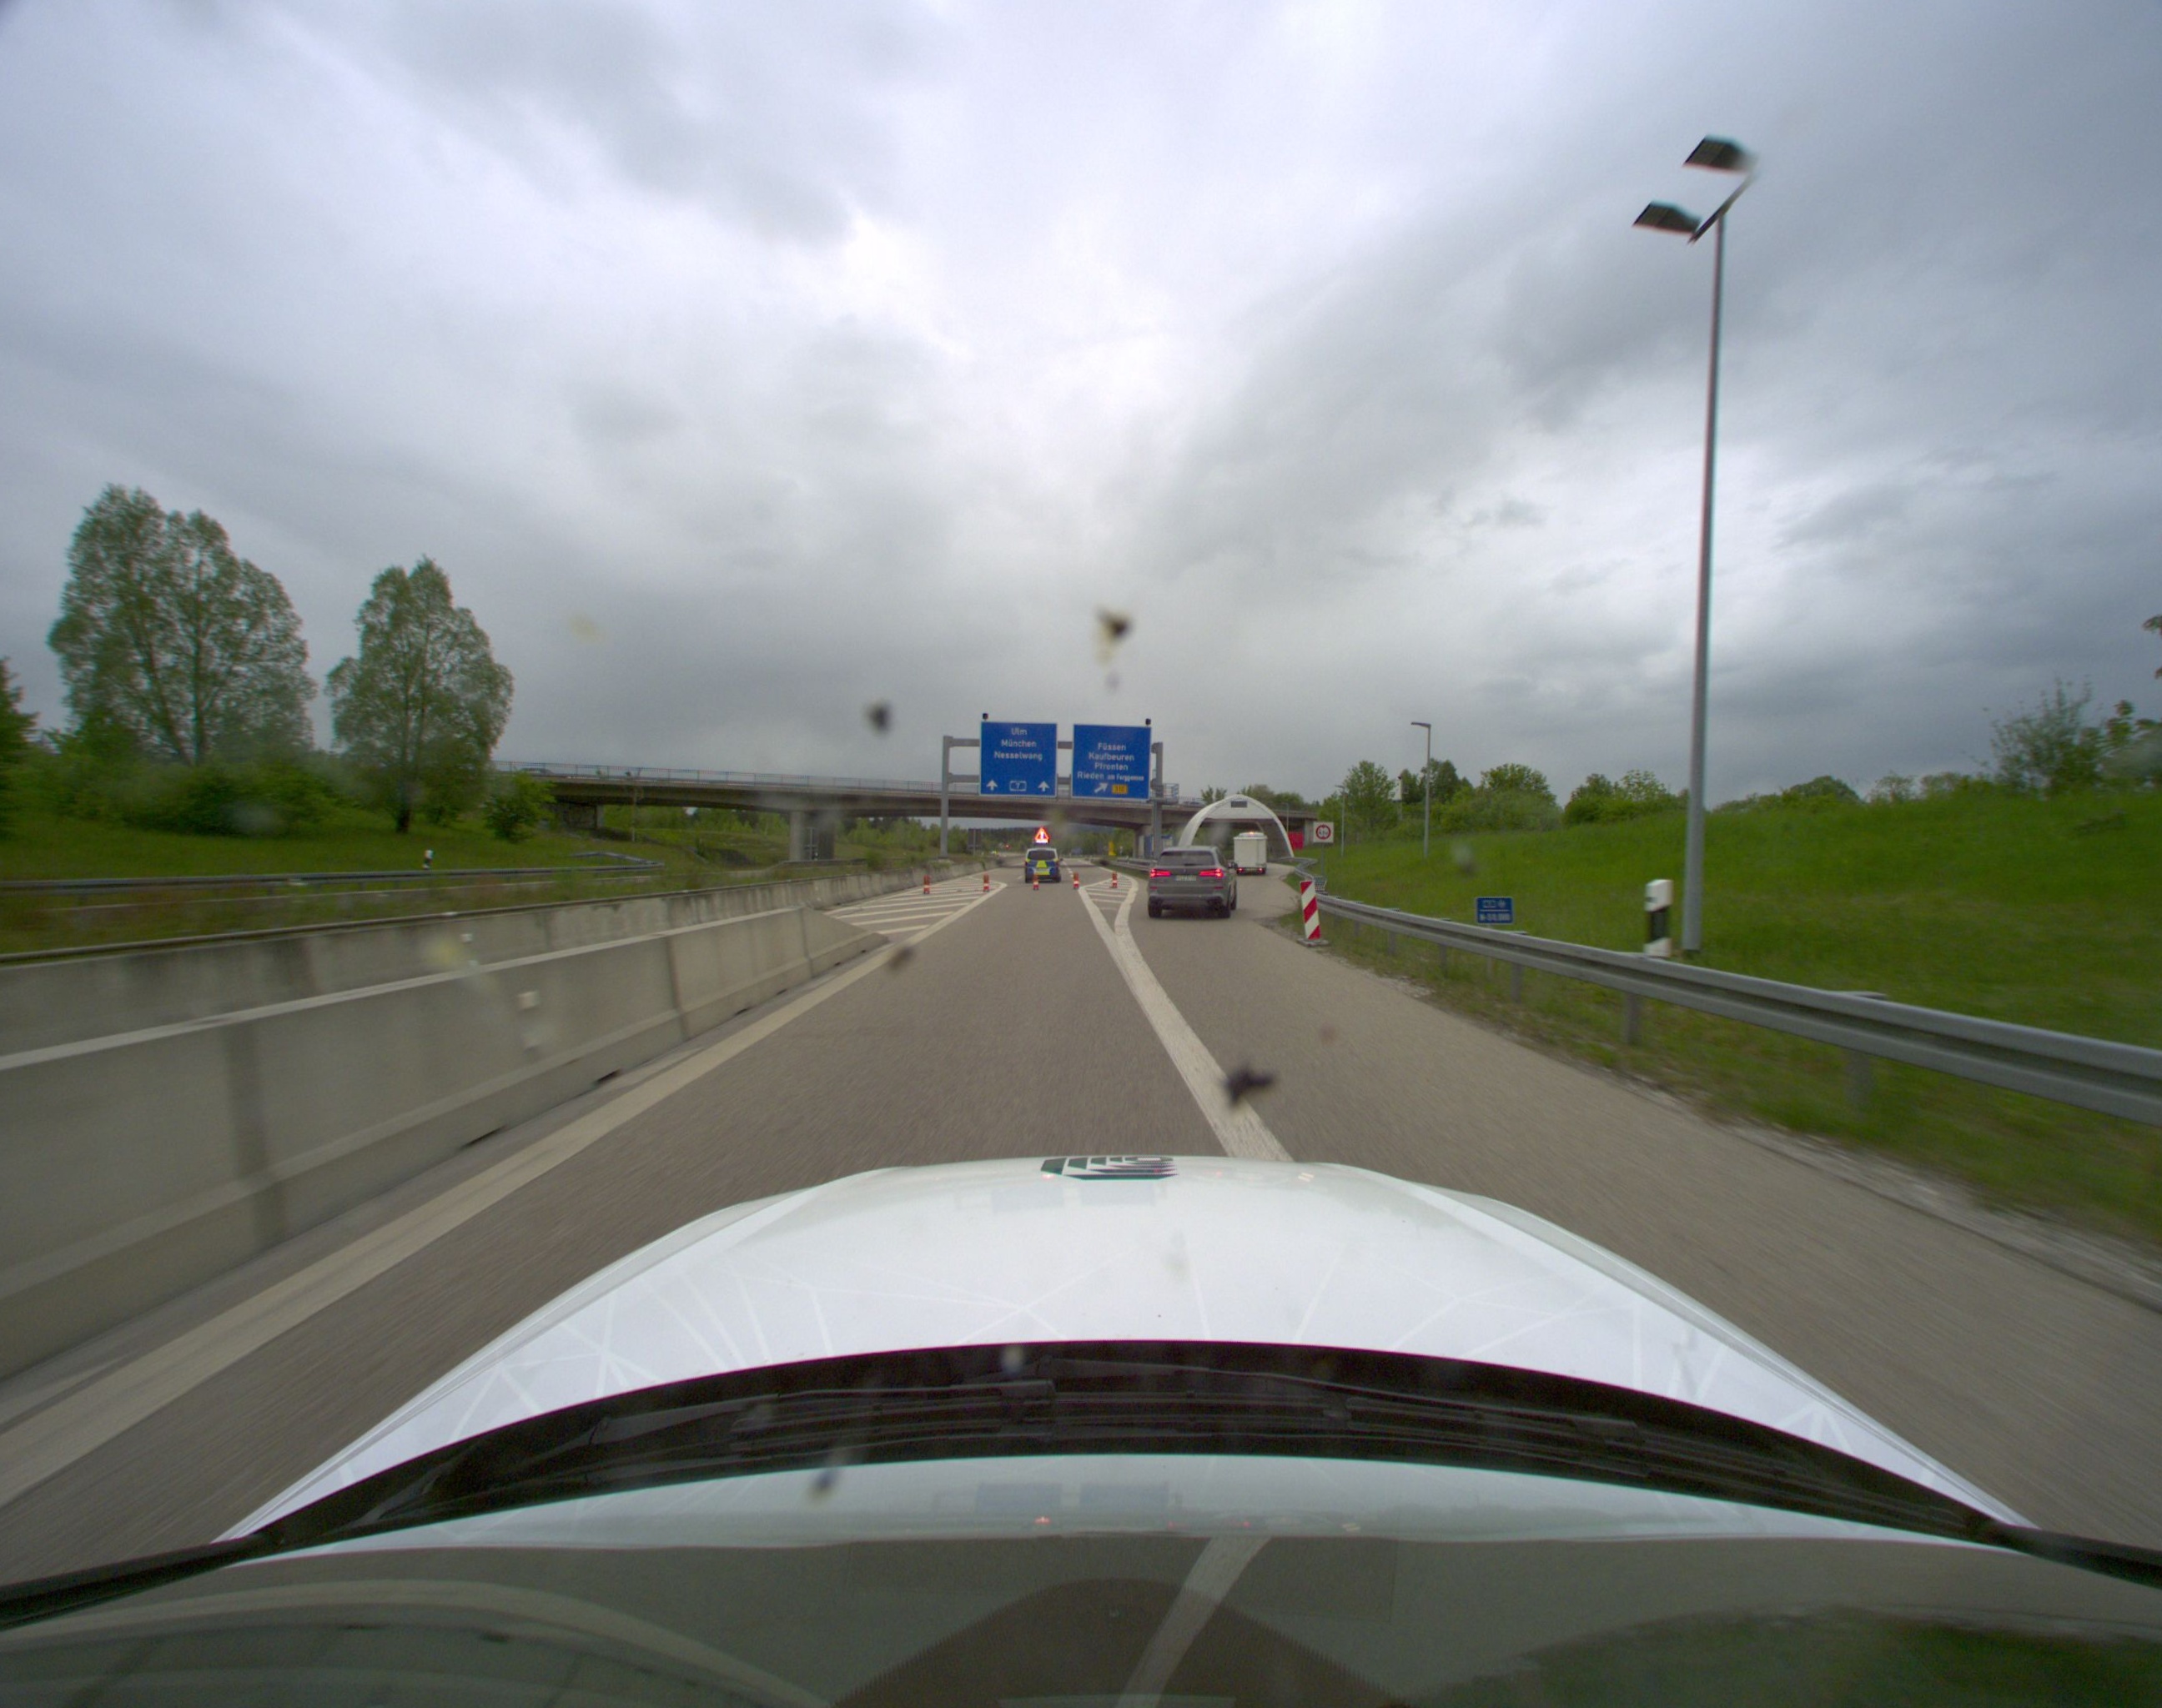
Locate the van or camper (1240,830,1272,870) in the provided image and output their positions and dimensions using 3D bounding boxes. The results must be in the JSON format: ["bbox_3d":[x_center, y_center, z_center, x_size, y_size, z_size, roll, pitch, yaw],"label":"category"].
[{"bbox_3d":[12.956,-0.270,60.527,2.143,2.763,5.888,-1,-1,11],"label":"van or camper"}]

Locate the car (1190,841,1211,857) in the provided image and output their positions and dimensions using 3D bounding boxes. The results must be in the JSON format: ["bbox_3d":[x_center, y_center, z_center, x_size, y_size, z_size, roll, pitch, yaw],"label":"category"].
[{"bbox_3d":[13.437,-0.562,91.594,1.986,1.772,3.768,-1,0,2],"label":"car"}]

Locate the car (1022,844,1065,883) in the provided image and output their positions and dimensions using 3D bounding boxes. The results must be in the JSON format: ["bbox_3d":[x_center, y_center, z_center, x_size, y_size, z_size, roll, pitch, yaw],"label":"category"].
[{"bbox_3d":[-2.082,0.482,45.349,2.281,2.013,5.045,0,1,-3],"label":"car"}]

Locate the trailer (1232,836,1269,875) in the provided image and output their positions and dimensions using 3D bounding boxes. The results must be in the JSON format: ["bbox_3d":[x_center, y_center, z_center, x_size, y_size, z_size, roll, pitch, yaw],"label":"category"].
[{"bbox_3d":[11.256,0.111,54.299,2.264,2.430,6.838,-1,0,11],"label":"trailer"}]

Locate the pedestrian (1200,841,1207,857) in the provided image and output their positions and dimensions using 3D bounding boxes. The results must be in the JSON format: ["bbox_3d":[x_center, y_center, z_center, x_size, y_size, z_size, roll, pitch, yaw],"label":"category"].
[{"bbox_3d":[14.178,-0.593,93.909,0.717,1.775,0.690,-1,0,3],"label":"pedestrian"}]

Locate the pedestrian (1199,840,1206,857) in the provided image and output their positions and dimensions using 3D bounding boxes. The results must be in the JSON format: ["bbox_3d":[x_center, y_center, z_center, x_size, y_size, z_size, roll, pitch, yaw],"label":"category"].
[{"bbox_3d":[14.123,-0.682,94.959,0.717,1.945,0.690,-1,0,3],"label":"pedestrian"}]

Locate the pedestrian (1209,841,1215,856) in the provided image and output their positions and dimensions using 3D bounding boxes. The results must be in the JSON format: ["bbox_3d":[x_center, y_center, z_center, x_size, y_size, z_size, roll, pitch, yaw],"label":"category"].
[{"bbox_3d":[15.249,-0.613,94.781,0.646,1.775,0.606,-1,0,1],"label":"pedestrian"}]

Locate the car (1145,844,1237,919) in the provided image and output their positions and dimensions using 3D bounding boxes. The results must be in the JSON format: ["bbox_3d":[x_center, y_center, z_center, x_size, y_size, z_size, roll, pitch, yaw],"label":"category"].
[{"bbox_3d":[2.910,0.627,20.774,1.980,1.719,4.014,0,0,13],"label":"car"}]
